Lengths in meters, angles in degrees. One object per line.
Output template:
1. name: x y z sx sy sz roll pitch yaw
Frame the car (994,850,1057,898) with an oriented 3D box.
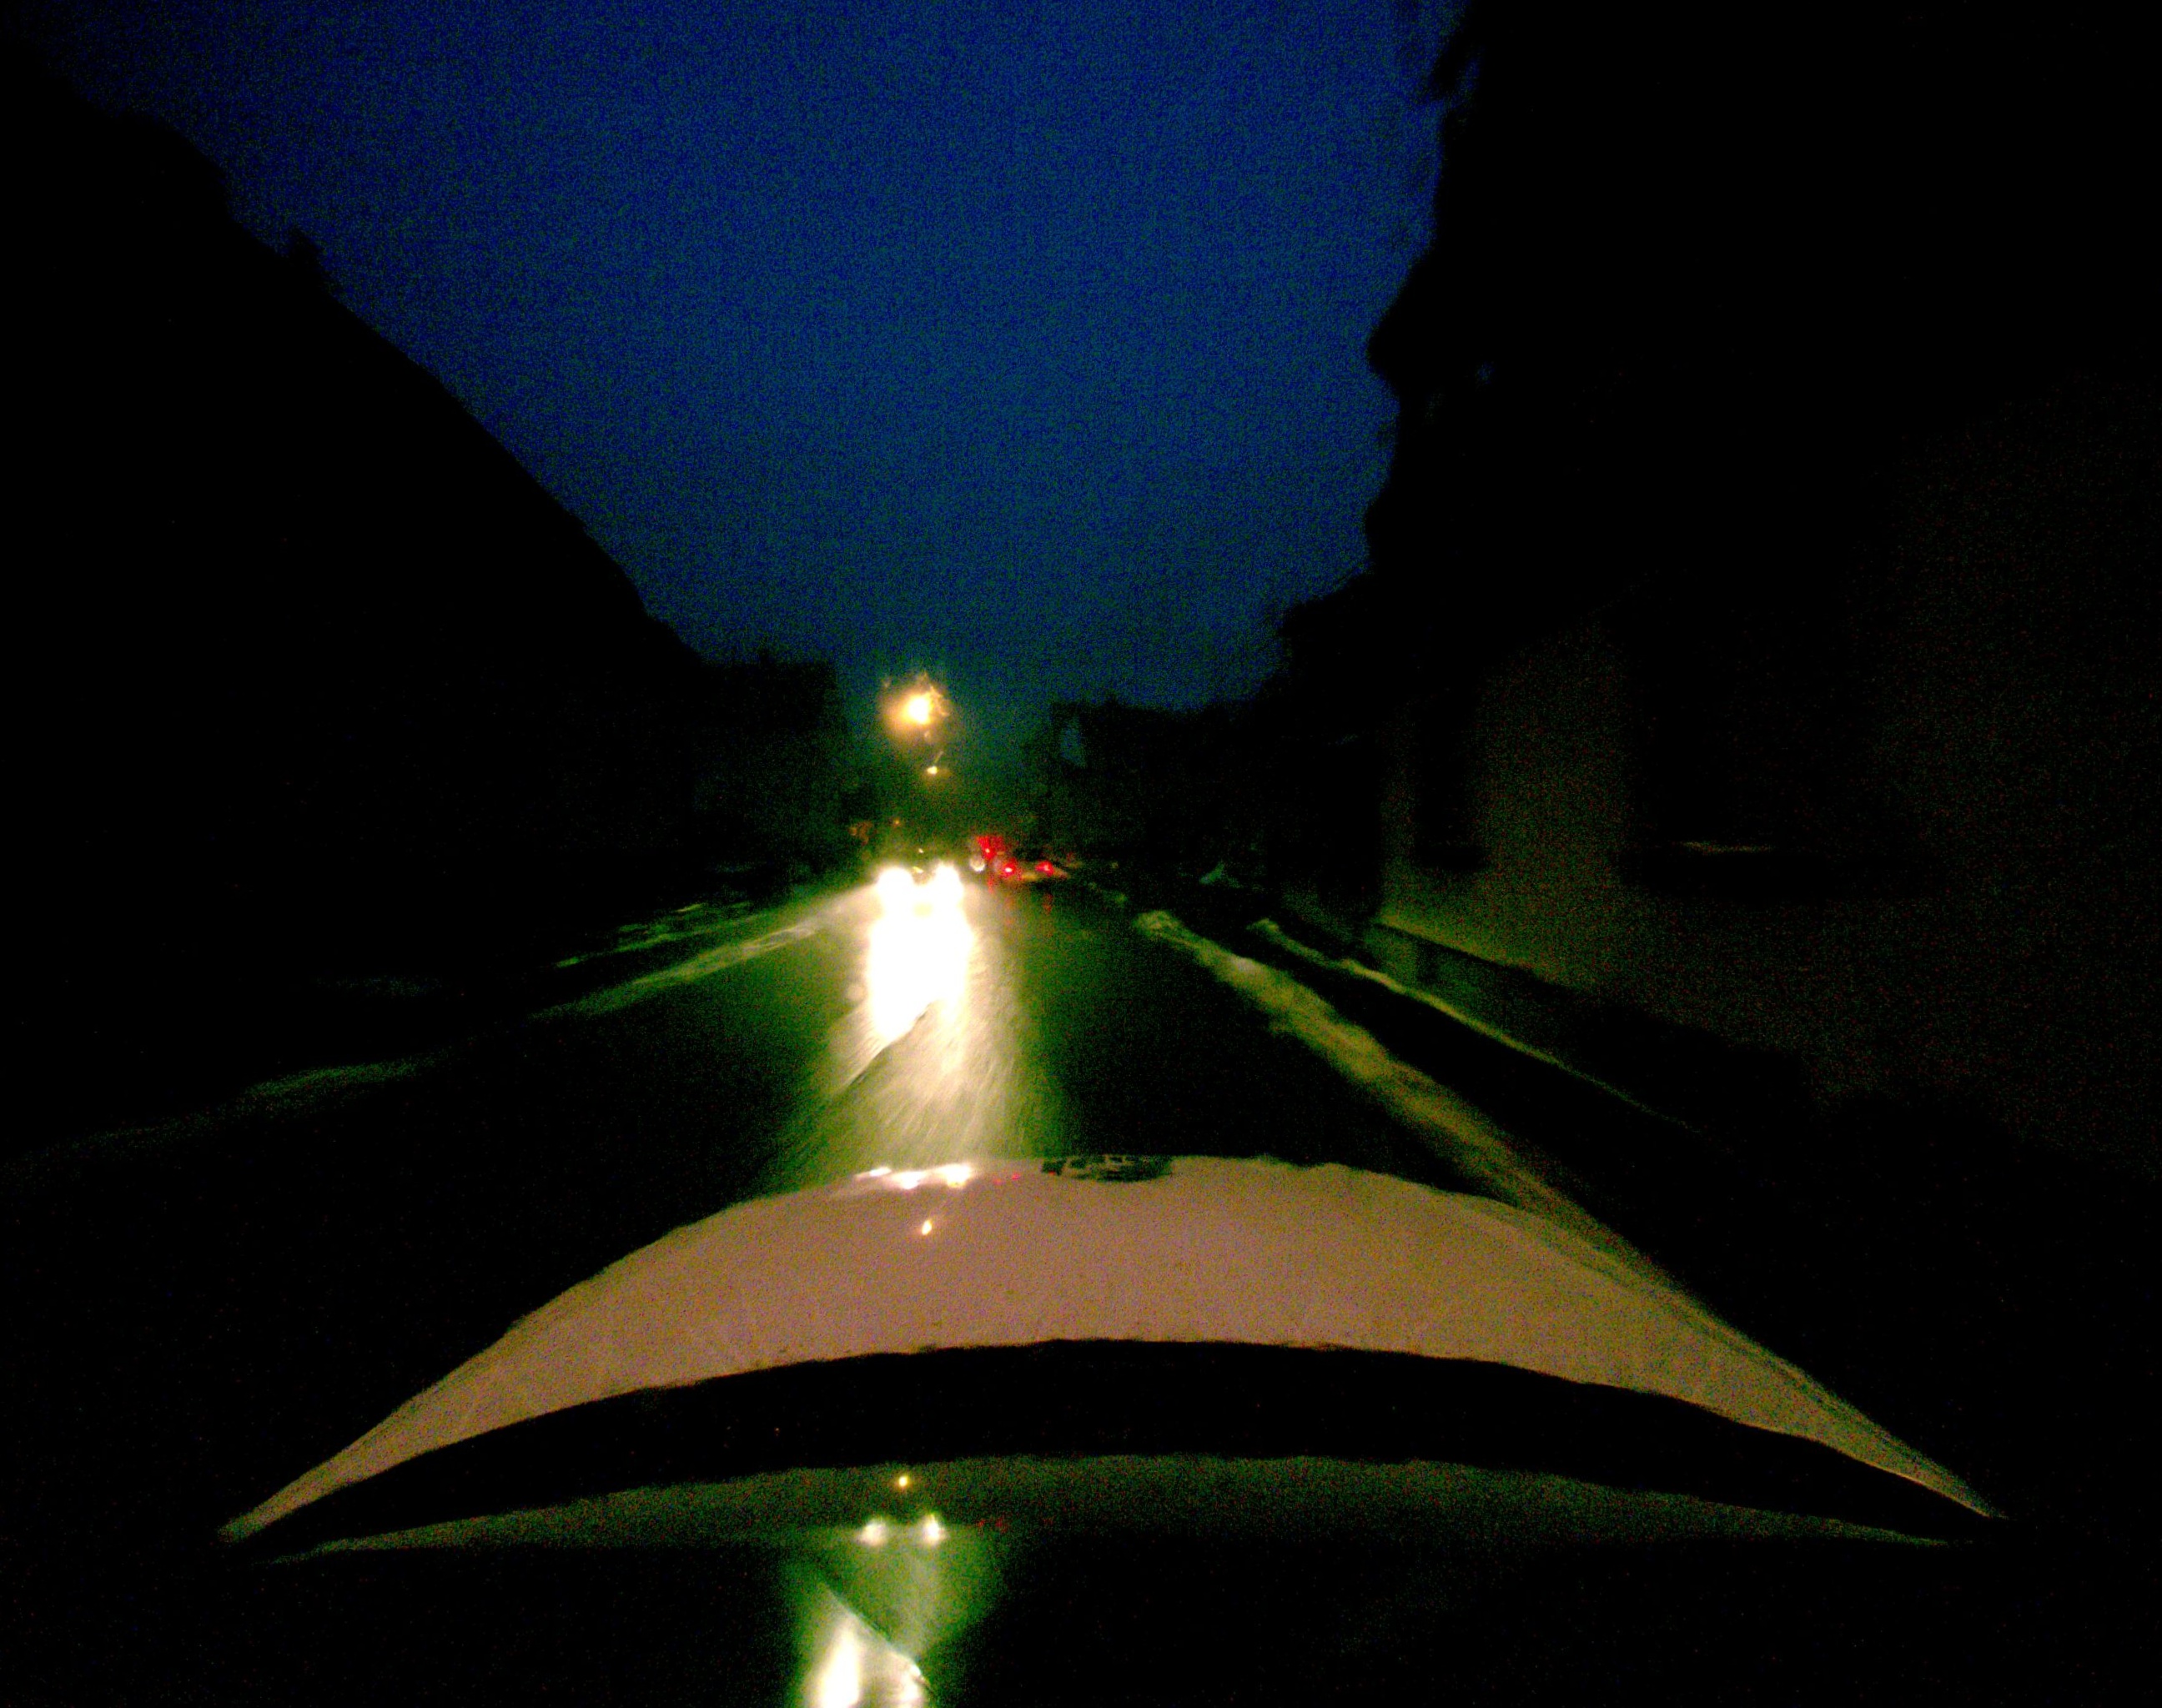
1. car: -1.950 0.691 28.292 1.990 1.508 3.992 2 -1 -5

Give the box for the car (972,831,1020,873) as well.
1. car: -4.252 -0.056 41.432 1.988 2.014 3.998 1 -2 -1

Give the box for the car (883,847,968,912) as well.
1. car: -4.496 0.718 24.158 1.837 1.687 4.472 -1 -1 -3
